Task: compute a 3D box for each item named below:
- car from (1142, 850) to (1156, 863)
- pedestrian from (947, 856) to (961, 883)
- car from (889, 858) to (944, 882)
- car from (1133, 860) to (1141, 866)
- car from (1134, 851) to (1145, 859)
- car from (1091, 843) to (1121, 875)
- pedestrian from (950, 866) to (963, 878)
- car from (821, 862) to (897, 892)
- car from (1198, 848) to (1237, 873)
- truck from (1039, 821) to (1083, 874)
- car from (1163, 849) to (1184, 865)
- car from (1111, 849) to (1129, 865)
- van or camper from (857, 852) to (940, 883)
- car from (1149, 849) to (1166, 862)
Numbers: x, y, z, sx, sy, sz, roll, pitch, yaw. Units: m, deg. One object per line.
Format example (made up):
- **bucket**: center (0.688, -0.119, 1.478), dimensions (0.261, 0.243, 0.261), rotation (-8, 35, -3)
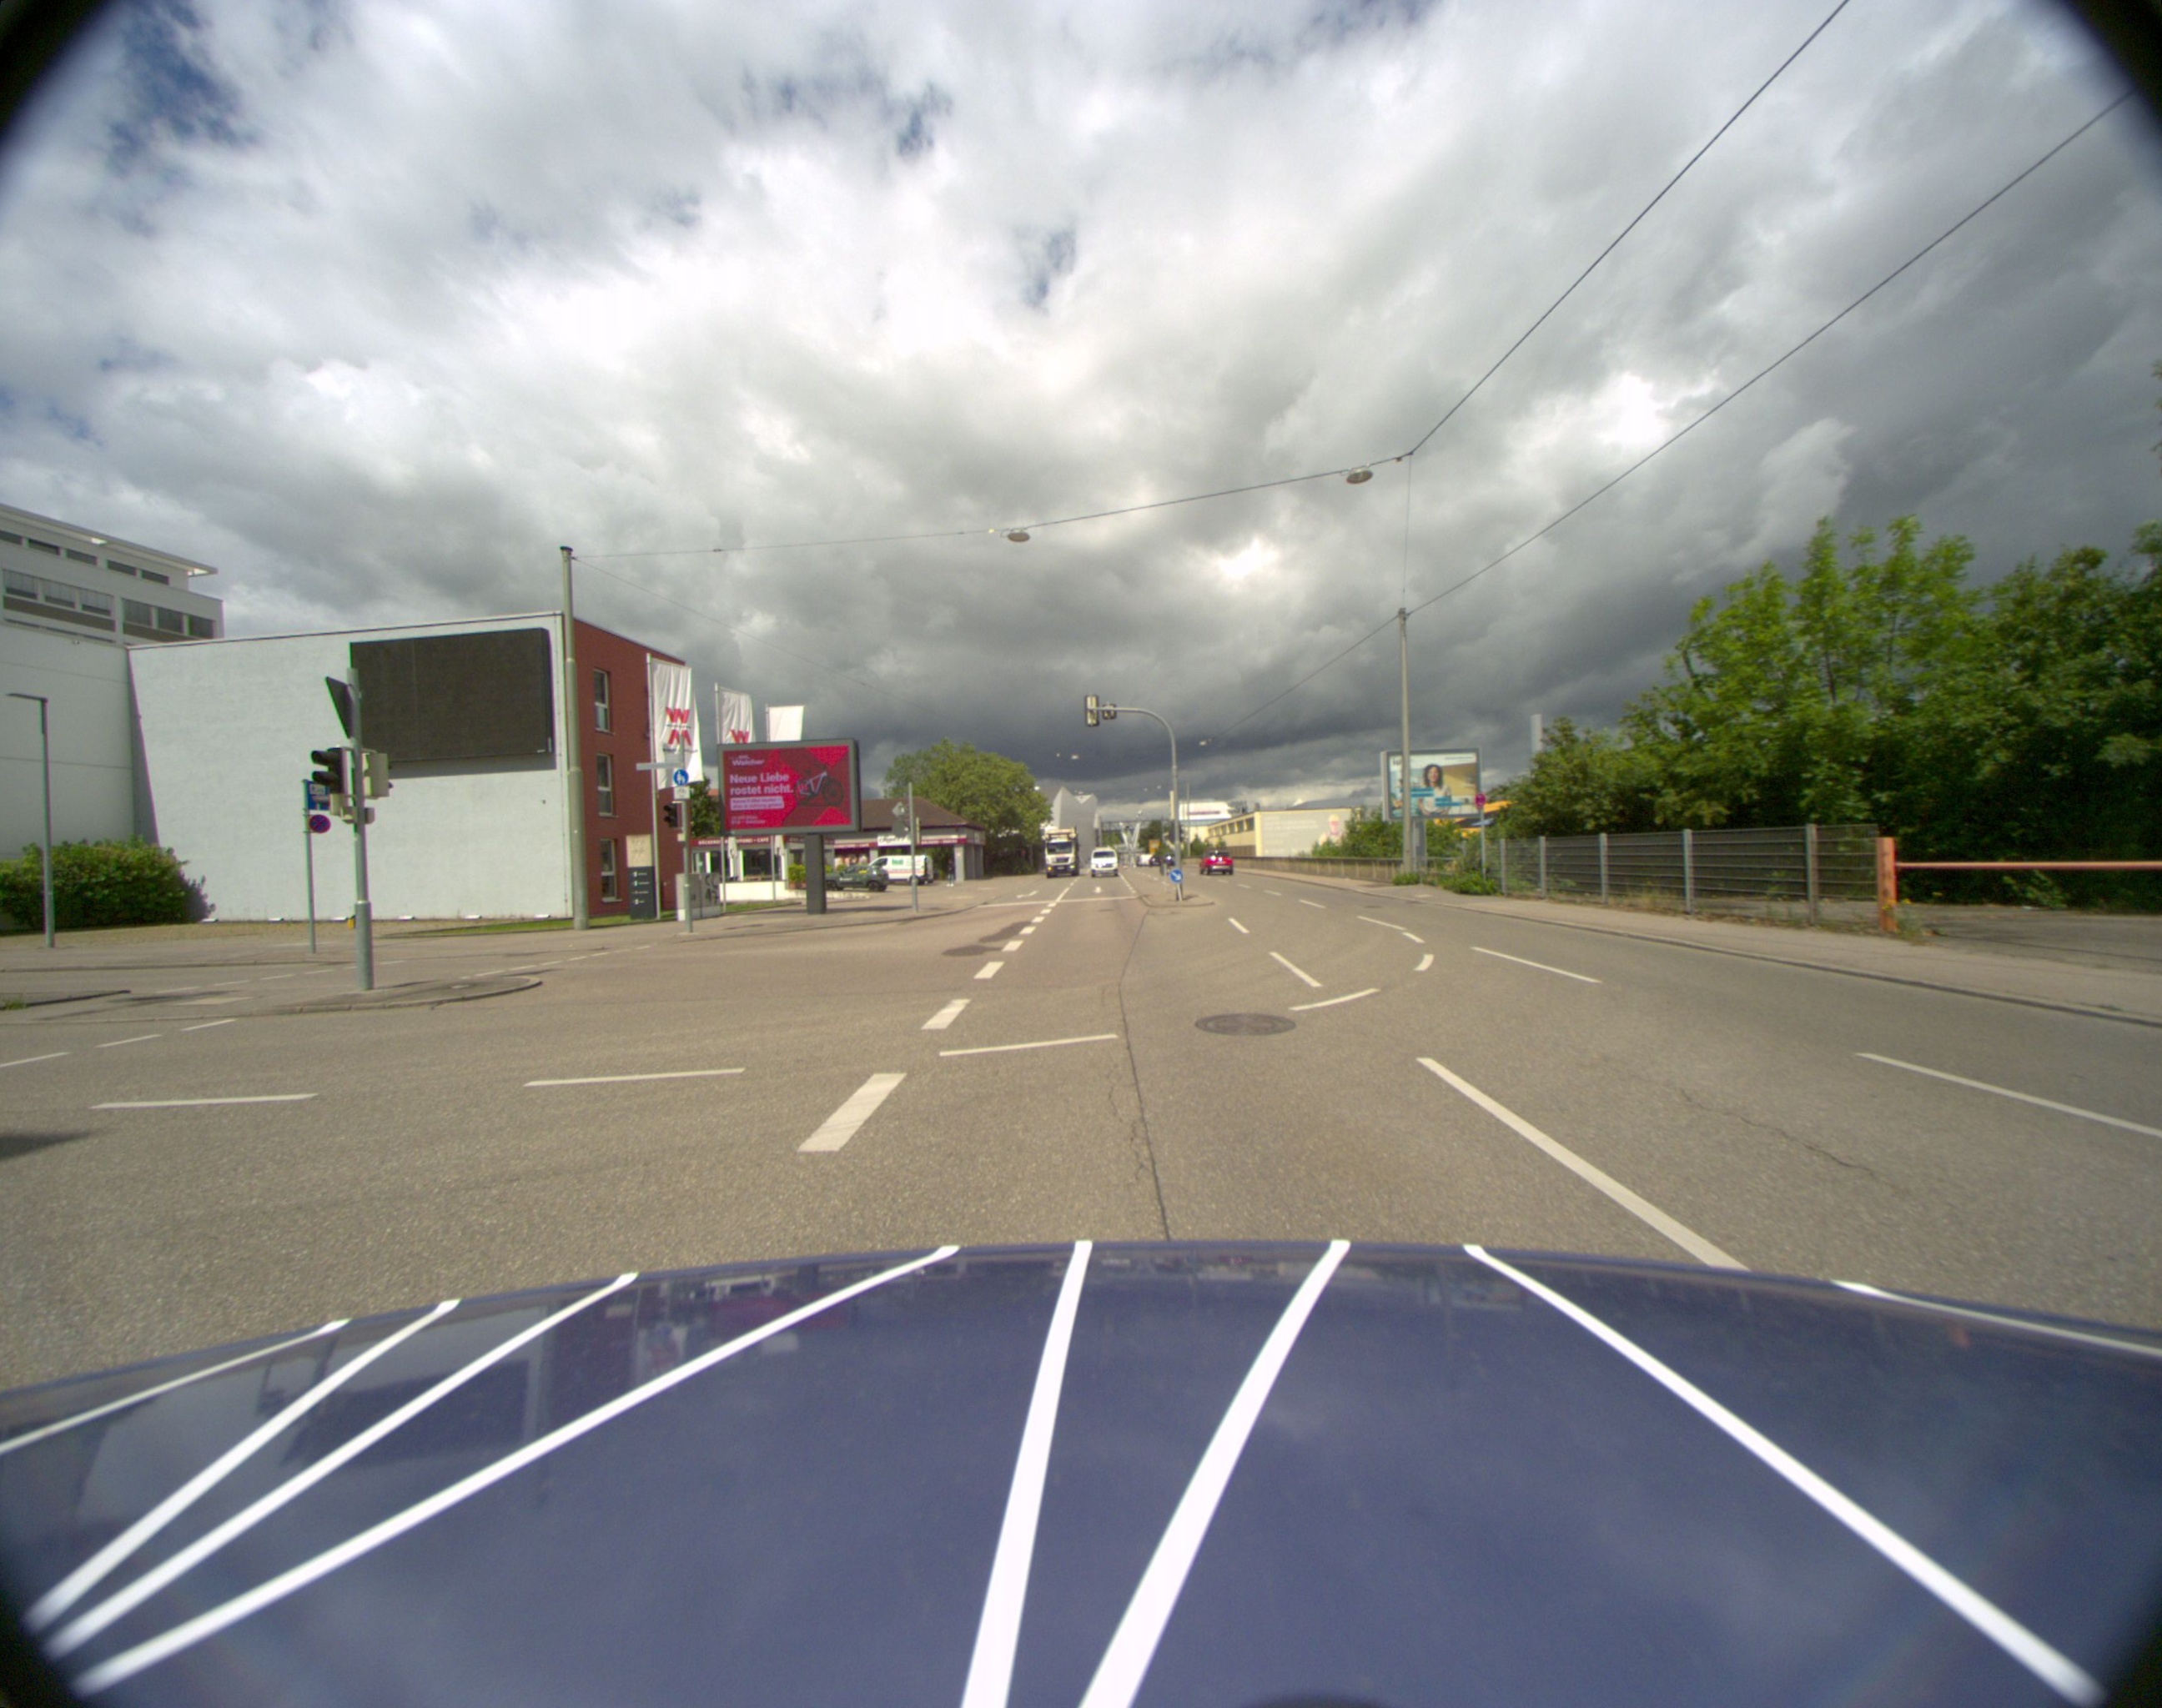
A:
- **car**: center (11.090, 0.415, 124.476), dimensions (1.896, 2.002, 5.650), rotation (-2, 0, 1)
- **pedestrian**: center (-8.095, 1.008, 48.553), dimensions (0.714, 1.697, 0.739), rotation (-2, 1, 2)
- **car**: center (-11.564, 1.121, 53.613), dimensions (3.460, 1.477, 1.835), rotation (2, 1, -1)
- **car**: center (13.306, 2.169, 179.885), dimensions (1.612, 1.404, 3.800), rotation (-1, -1, 0)
- **car**: center (10.751, 0.249, 140.262), dimensions (1.612, 1.404, 3.799), rotation (-2, 0, 0)
- **car**: center (1.796, 0.343, 53.361), dimensions (1.935, 2.078, 4.209), rotation (-2, 0, 4)
- **pedestrian**: center (-13.545, 1.946, 82.846), dimensions (0.884, 1.241, 0.967), rotation (-2, 0, 30)
- **car**: center (-12.369, 1.256, 42.443), dimensions (3.675, 1.477, 1.762), rotation (2, 1, 4)
- **car**: center (8.984, 0.428, 50.203), dimensions (1.935, 1.590, 4.153), rotation (0, 0, 2)
- **truck**: center (-1.485, -0.467, 62.719), dimensions (2.836, 3.889, 10.368), rotation (-2, 0, 2)
- **car**: center (9.871, 0.302, 81.367), dimensions (1.860, 1.608, 4.000), rotation (-3, 0, 2)
- **car**: center (4.516, 0.362, 88.618), dimensions (1.870, 1.782, 4.208), rotation (-2, 0, 1)
- **van or camper**: center (-12.116, 0.891, 50.633), dimensions (4.909, 1.946, 2.212), rotation (0, 1, 2)
- **car**: center (10.183, 0.202, 101.258), dimensions (1.860, 1.608, 4.000), rotation (-3, 0, 2)
